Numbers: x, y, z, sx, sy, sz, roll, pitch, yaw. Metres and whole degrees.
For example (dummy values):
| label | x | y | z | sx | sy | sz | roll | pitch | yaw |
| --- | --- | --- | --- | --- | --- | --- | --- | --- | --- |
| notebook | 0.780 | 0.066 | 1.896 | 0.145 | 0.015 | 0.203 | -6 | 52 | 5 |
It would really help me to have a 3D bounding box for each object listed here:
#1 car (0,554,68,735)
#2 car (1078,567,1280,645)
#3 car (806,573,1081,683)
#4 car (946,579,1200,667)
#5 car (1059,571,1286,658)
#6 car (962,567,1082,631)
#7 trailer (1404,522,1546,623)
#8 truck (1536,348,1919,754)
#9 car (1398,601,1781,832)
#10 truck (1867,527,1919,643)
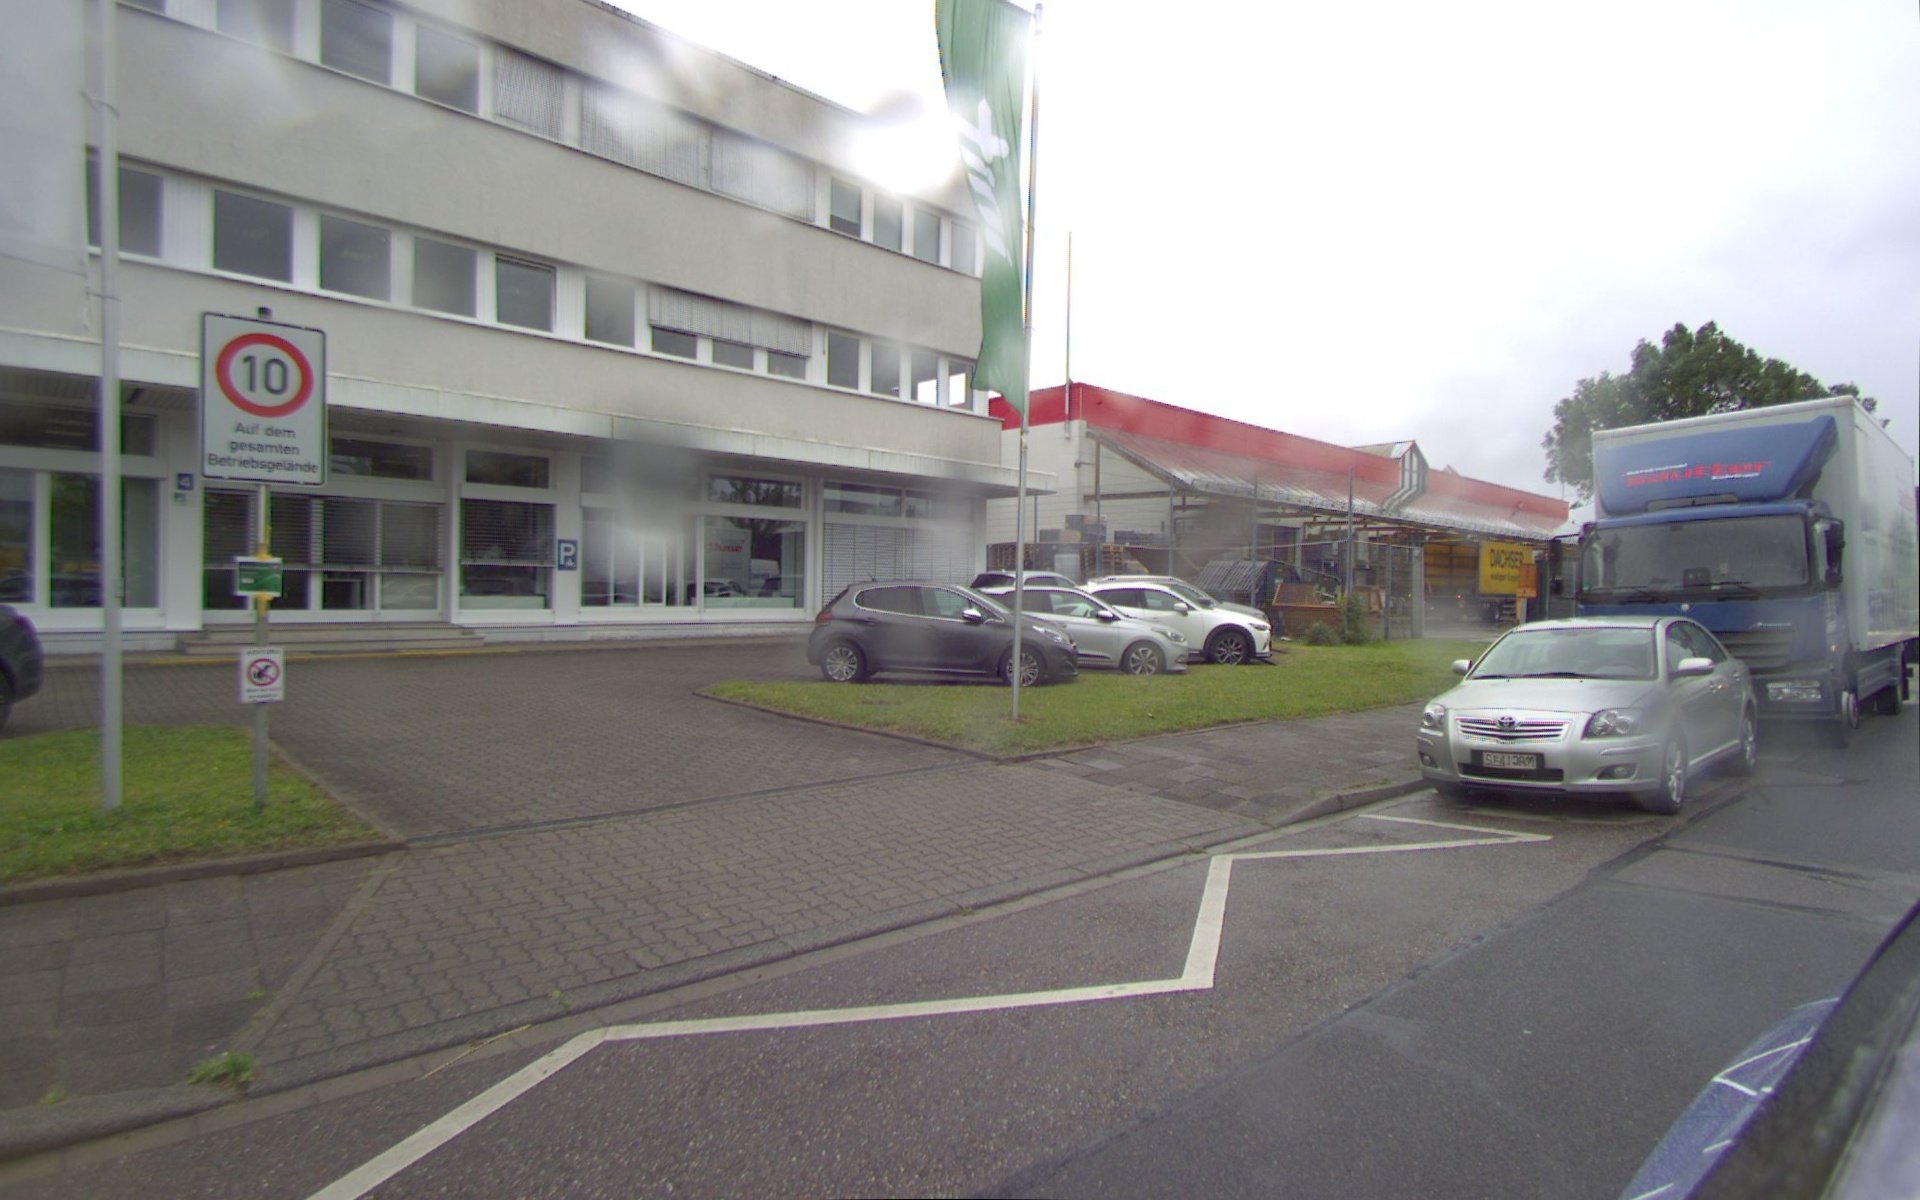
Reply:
| label | x | y | z | sx | sy | sz | roll | pitch | yaw |
| --- | --- | --- | --- | --- | --- | --- | --- | --- | --- |
| car | -8.613 | 0.389 | 6.603 | 1.755 | 1.486 | 4.681 | 1 | 1 | -5 |
| car | 4.595 | 0.100 | 21.708 | 3.927 | 1.546 | 1.872 | 1 | 1 | 3 |
| car | -0.185 | 0.353 | 14.505 | 3.701 | 1.410 | 1.705 | 1 | 1 | 5 |
| car | 1.781 | 0.345 | 16.640 | 3.927 | 1.302 | 1.705 | 1 | 1 | 3 |
| car | 3.893 | 0.240 | 19.093 | 3.927 | 1.488 | 1.774 | 1 | 1 | 3 |
| car | 1.511 | -0.045 | 24.272 | 2.701 | 1.443 | 1.400 | 0 | 1 | -43 |
| trailer | 24.232 | -1.208 | 47.340 | 9.313 | 4.296 | 2.970 | 0 | 1 | -44 |
| truck | 10.935 | -0.455 | 13.680 | 9.141 | 3.838 | 2.744 | 0 | -2 | -43 |
| car | 5.633 | 0.770 | 8.813 | 4.272 | 1.459 | 1.799 | 0 | 1 | -43 |
| truck | 33.816 | -0.493 | 35.133 | 7.874 | 3.740 | 2.674 | 0 | -2 | -43 |
